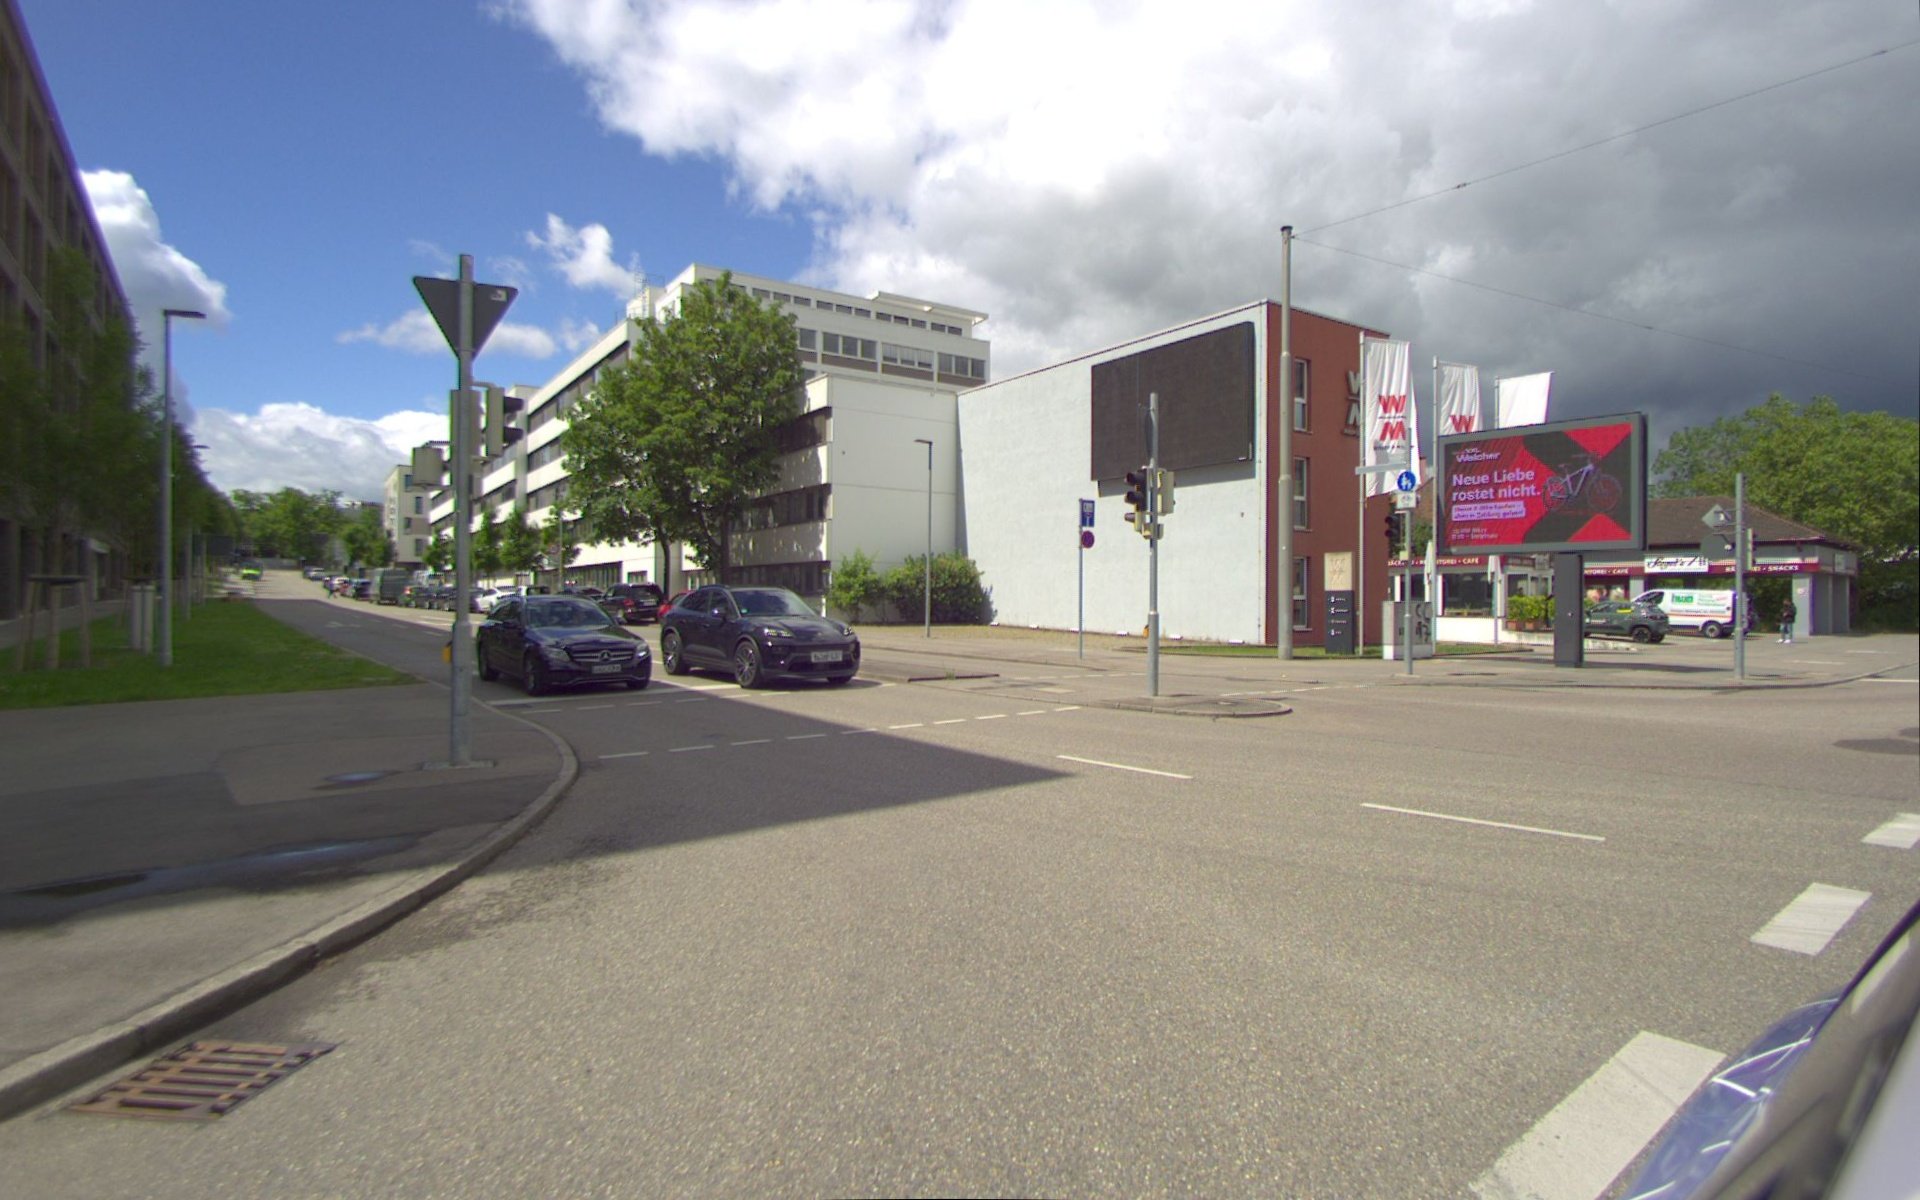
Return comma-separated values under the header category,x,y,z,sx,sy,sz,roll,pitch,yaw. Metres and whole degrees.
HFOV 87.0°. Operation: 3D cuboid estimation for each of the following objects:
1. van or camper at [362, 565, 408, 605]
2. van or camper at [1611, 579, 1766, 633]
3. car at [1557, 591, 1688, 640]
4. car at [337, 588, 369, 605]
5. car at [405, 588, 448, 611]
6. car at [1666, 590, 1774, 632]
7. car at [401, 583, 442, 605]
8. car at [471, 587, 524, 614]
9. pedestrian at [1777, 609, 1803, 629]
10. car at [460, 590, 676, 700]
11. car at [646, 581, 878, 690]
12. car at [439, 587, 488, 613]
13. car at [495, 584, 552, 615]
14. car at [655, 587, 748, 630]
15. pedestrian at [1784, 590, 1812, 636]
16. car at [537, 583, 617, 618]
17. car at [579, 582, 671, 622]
category,x,y,z,sx,sy,sz,roll,pitch,yaw
van or camper,-41.692,-1.064,73.332,1.965,2.772,5.116,0,0,-41
van or camper,30.882,0.189,43.022,2.172,1.981,4.911,-1,3,-39
car,24.705,0.539,37.852,1.729,1.503,3.679,0,4,-37
car,-48.644,-0.309,81.120,1.472,1.356,3.529,0,0,-44
car,-33.123,0.010,62.795,1.472,1.357,3.528,0,-1,-44
car,33.415,0.451,44.558,1.804,1.503,3.458,-1,5,-41
car,-35.531,-0.368,66.744,1.472,1.357,3.528,0,-1,-44
car,-24.334,0.065,53.241,1.472,1.357,3.528,0,-1,-44
pedestrian,53.511,1.241,65.226,0.945,1.264,0.888,0,-1,-11
car,-6.493,0.600,16.449,1.964,1.511,4.534,-1,1,-39
car,-3.566,0.509,17.578,1.965,1.639,4.648,0,0,-40
car,-27.811,0.006,56.681,1.472,1.357,3.528,0,-1,-44
car,-21.757,0.000,50.393,1.472,1.480,3.528,0,-1,-44
car,-9.603,0.285,37.433,1.718,1.480,3.670,0,0,-45
pedestrian,31.963,0.478,38.607,0.726,1.729,0.714,0,0,-39
car,-17.482,-0.008,46.112,1.841,1.480,4.300,-1,1,-45
car,-13.783,0.057,41.515,1.841,1.589,4.300,0,0,-45
